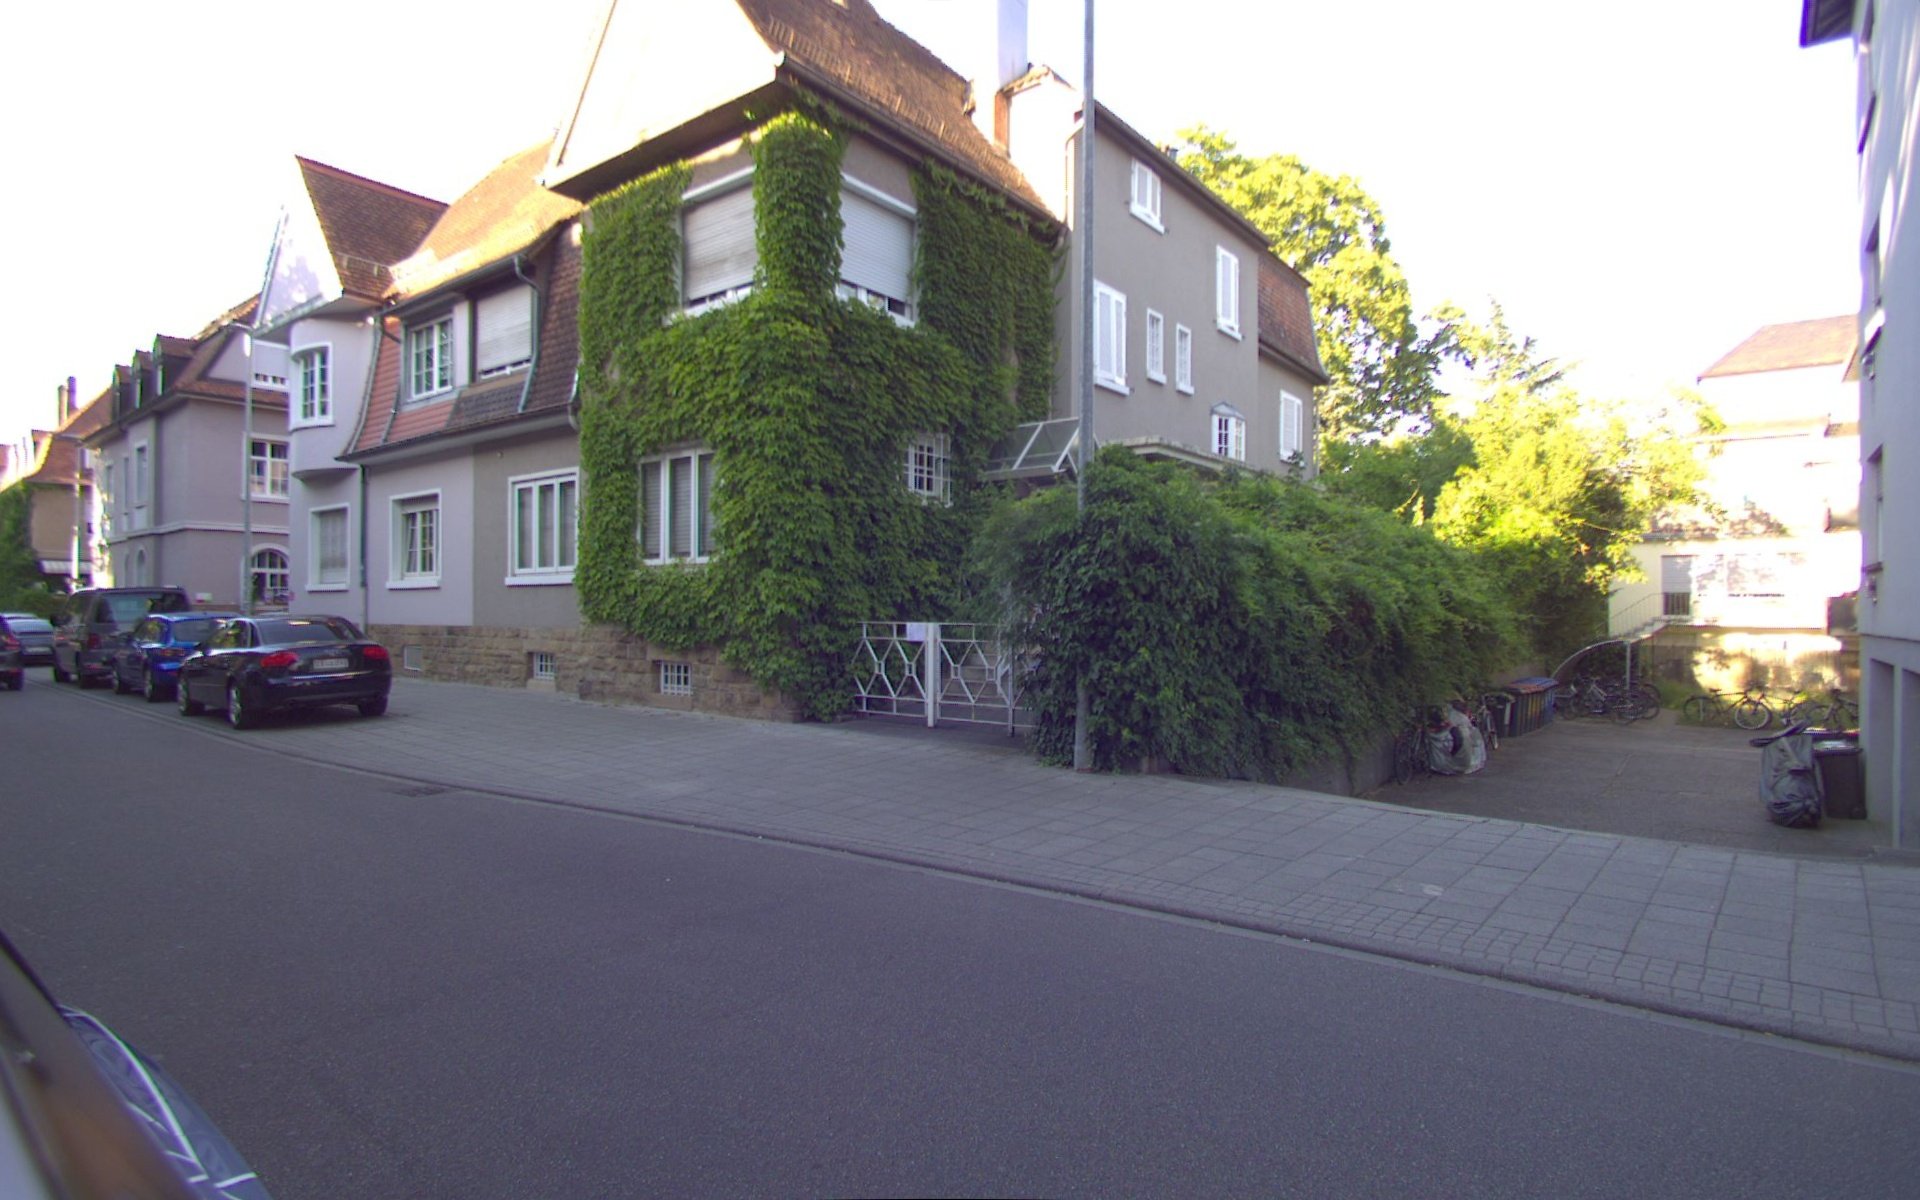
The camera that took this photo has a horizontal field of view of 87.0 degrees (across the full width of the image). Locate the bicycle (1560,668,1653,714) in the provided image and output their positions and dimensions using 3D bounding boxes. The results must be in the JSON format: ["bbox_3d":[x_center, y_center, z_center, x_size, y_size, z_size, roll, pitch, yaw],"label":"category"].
[{"bbox_3d":[17.603,2.464,27.586,2.068,1.028,0.608,1,3,41],"label":"bicycle"}]

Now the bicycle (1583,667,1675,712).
[{"bbox_3d":[18.521,2.451,28.051,2.068,1.028,0.608,1,3,41],"label":"bicycle"}]

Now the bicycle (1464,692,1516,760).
[{"bbox_3d":[9.857,2.304,18.789,0.514,1.027,1.914,1,0,38],"label":"bicycle"}]

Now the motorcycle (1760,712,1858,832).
[{"bbox_3d":[10.637,2.113,12.729,0.757,1.261,1.575,-1,-2,34],"label":"motorcycle"}]

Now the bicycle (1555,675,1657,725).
[{"bbox_3d":[16.177,2.486,25.372,2.068,1.028,0.634,1,3,41],"label":"bicycle"}]

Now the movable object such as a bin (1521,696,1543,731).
[{"bbox_3d":[12.935,2.555,22.894,0.375,0.764,0.359,-1,-4,41],"label":"movable object such as a bin"}]

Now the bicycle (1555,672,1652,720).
[{"bbox_3d":[16.742,2.477,26.384,2.068,1.028,0.565,1,3,41],"label":"bicycle"}]

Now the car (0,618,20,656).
[{"bbox_3d":[-36.570,1.383,37.776,3.943,1.381,1.698,-1,1,40],"label":"car"}]

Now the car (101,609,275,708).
[{"bbox_3d":[-13.764,0.949,17.970,4.021,1.475,1.591,0,2,40],"label":"car"}]

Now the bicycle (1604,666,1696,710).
[{"bbox_3d":[19.322,2.440,28.355,2.068,1.028,0.561,1,3,41],"label":"bicycle"}]

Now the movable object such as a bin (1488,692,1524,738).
[{"bbox_3d":[11.443,2.403,21.211,0.576,0.886,0.488,0,-3,41],"label":"movable object such as a bin"}]

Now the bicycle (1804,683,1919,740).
[{"bbox_3d":[20.455,2.503,22.898,2.068,1.028,0.634,1,3,41],"label":"bicycle"}]

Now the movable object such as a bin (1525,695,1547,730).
[{"bbox_3d":[13.186,2.570,23.174,0.367,0.764,0.359,-1,-4,41],"label":"movable object such as a bin"}]

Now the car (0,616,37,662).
[{"bbox_3d":[-30.648,1.225,32.077,3.943,1.381,1.522,-1,1,40],"label":"car"}]

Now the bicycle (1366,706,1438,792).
[{"bbox_3d":[6.687,2.209,15.262,0.514,1.027,1.914,1,0,38],"label":"bicycle"}]

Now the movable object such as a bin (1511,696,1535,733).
[{"bbox_3d":[12.401,2.523,22.275,0.398,0.779,0.359,-1,-4,41],"label":"movable object such as a bin"}]

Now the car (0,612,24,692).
[{"bbox_3d":[-19.727,0.973,19.712,3.587,1.513,1.600,-1,-3,38],"label":"car"}]

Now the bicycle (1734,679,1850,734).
[{"bbox_3d":[19.495,2.478,23.751,2.068,1.028,0.634,1,3,41],"label":"bicycle"}]

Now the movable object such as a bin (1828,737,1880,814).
[{"bbox_3d":[11.658,2.274,13.214,0.432,0.894,0.717,-1,-3,37],"label":"movable object such as a bin"}]

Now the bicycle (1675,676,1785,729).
[{"bbox_3d":[18.618,2.455,24.506,2.068,1.028,0.634,1,3,41],"label":"bicycle"}]

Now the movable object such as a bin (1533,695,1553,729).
[{"bbox_3d":[13.690,2.619,23.780,0.346,0.764,0.359,-1,-4,41],"label":"movable object such as a bin"}]

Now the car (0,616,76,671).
[{"bbox_3d":[-26.446,1.185,28.482,4.331,1.381,1.698,-1,1,40],"label":"car"}]

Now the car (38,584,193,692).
[{"bbox_3d":[-17.649,0.717,21.083,4.308,1.987,1.698,0,2,40],"label":"car"}]

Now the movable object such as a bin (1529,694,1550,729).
[{"bbox_3d":[13.438,2.585,23.471,0.367,0.764,0.359,-1,-4,41],"label":"movable object such as a bin"}]

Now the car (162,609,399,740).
[{"bbox_3d":[-9.443,0.898,13.943,4.023,1.439,1.729,0,2,42],"label":"car"}]
